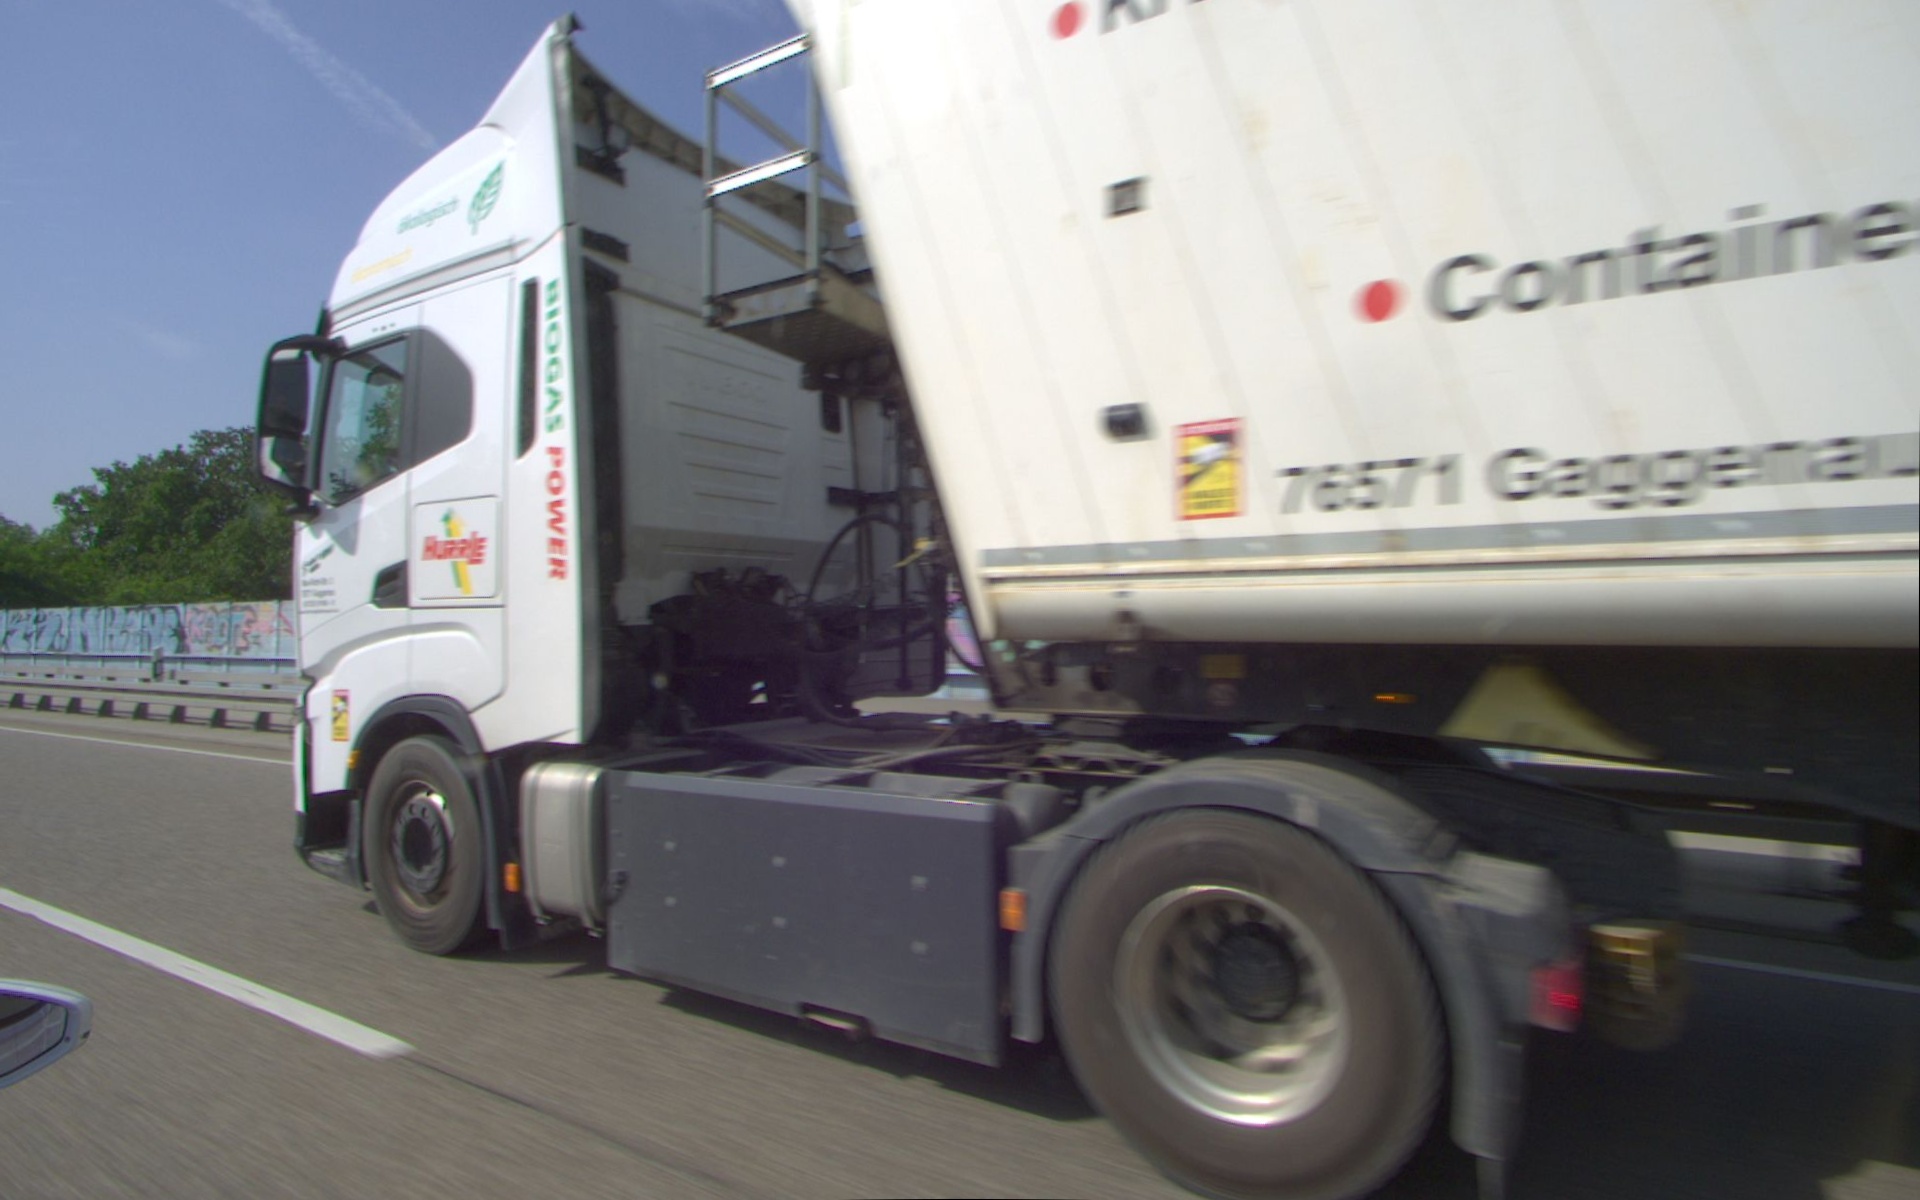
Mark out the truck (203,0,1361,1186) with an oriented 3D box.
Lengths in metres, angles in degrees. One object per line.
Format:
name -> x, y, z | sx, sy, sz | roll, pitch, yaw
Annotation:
truck -> -1.129, -0.410, 5.172 | 5.567, 3.946, 2.654 | -1, -1, 32

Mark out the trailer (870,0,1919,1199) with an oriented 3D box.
trailer -> 4.465, -0.510, 1.606 | 9.533, 3.957, 2.675 | -1, -1, 32
